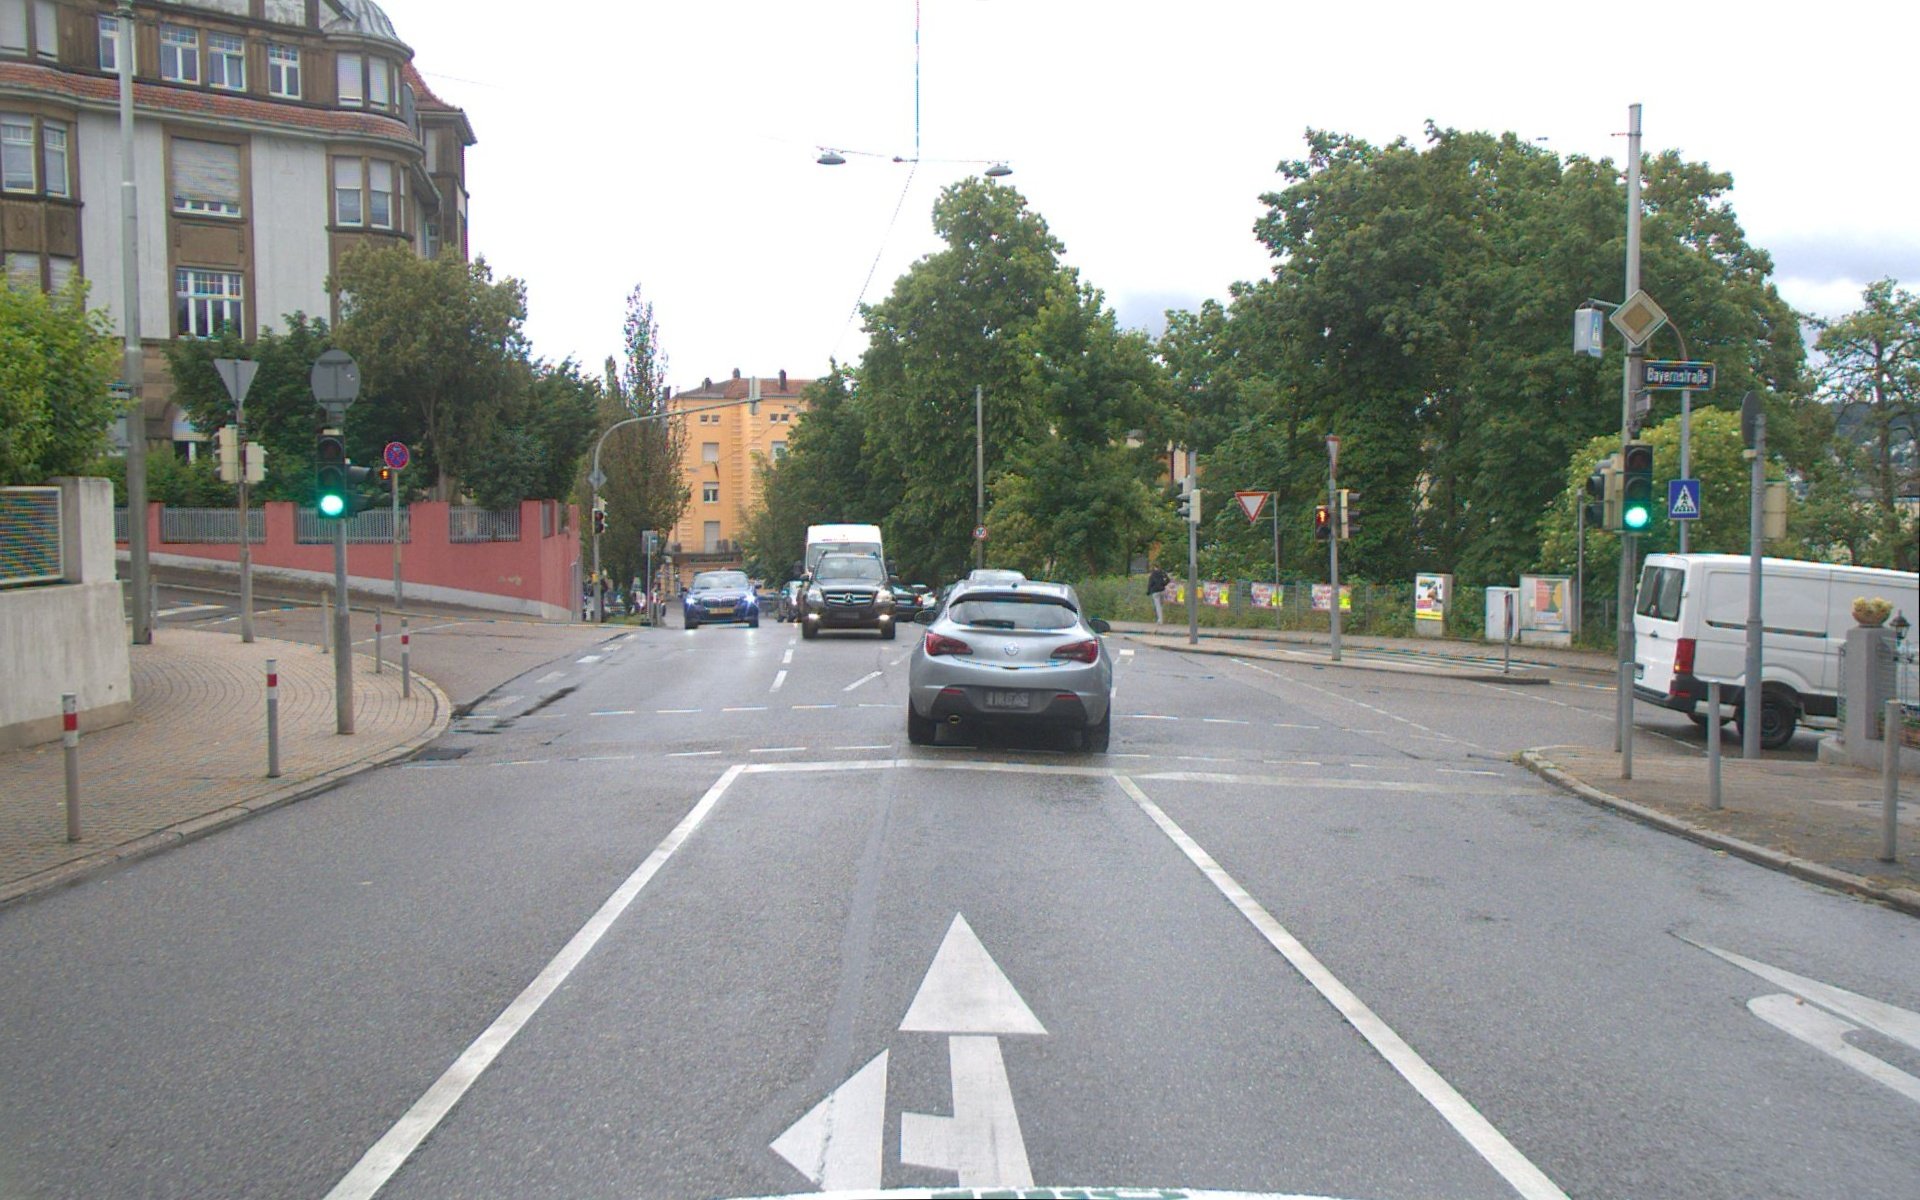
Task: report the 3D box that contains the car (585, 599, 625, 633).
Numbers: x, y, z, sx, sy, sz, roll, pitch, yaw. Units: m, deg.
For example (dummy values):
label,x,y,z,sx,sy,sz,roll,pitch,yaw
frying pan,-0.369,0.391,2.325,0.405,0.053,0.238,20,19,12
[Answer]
label,x,y,z,sx,sy,sz,roll,pitch,yaw
car,-17.387,0.796,80.981,1.784,1.641,3.985,0,-1,-14

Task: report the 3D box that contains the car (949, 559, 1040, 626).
label,x,y,z,sx,sy,sz,roll,pitch,yaw
car,0.774,-0.135,39.102,1.741,1.455,3.781,0,-2,-5

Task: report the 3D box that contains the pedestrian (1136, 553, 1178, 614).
label,x,y,z,sx,sy,sz,roll,pitch,yaw
pedestrian,5.448,-0.447,45.693,0.753,1.633,0.961,-4,0,-17

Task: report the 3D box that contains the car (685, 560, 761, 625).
label,x,y,z,sx,sy,sz,roll,pitch,yaw
car,-6.123,-0.245,43.135,1.818,1.511,5.360,-1,2,-7

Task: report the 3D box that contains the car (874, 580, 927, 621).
label,x,y,z,sx,sy,sz,roll,pitch,yaw
car,-2.217,0.001,60.851,1.359,1.436,3.446,-2,1,-12

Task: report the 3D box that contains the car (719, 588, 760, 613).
label,x,y,z,sx,sy,sz,roll,pitch,yaw
car,-14.920,0.040,111.586,1.790,1.492,3.975,-6,1,-20

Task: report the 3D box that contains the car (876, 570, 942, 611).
label,x,y,z,sx,sy,sz,roll,pitch,yaw
car,-2.266,-0.393,72.574,1.787,1.520,3.981,-7,1,-17

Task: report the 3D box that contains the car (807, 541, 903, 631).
label,x,y,z,sx,sy,sz,roll,pitch,yaw
car,-2.120,-0.316,33.031,1.785,1.680,4.343,0,1,-4

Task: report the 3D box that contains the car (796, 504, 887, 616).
label,x,y,z,sx,sy,sz,roll,pitch,yaw
car,-2.988,-0.945,41.354,2.076,2.590,5.534,-1,0,-5

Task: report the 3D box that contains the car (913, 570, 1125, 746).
label,x,y,z,sx,sy,sz,roll,pitch,yaw
car,0.445,0.452,15.931,1.778,1.454,3.999,0,1,-2

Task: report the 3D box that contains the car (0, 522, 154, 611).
label,x,y,z,sx,sy,sz,roll,pitch,yaw
car,-17.606,-0.684,32.104,3.286,1.462,1.673,3,6,19

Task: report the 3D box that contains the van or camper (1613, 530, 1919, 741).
label,x,y,z,sx,sy,sz,roll,pitch,yaw
van or camper,11.641,0.488,21.530,5.288,2.365,2.112,5,2,3

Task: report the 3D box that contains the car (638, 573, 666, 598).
label,x,y,z,sx,sy,sz,roll,pitch,yaw
car,-24.472,-1.165,131.273,1.754,1.887,3.980,0,-1,-18
